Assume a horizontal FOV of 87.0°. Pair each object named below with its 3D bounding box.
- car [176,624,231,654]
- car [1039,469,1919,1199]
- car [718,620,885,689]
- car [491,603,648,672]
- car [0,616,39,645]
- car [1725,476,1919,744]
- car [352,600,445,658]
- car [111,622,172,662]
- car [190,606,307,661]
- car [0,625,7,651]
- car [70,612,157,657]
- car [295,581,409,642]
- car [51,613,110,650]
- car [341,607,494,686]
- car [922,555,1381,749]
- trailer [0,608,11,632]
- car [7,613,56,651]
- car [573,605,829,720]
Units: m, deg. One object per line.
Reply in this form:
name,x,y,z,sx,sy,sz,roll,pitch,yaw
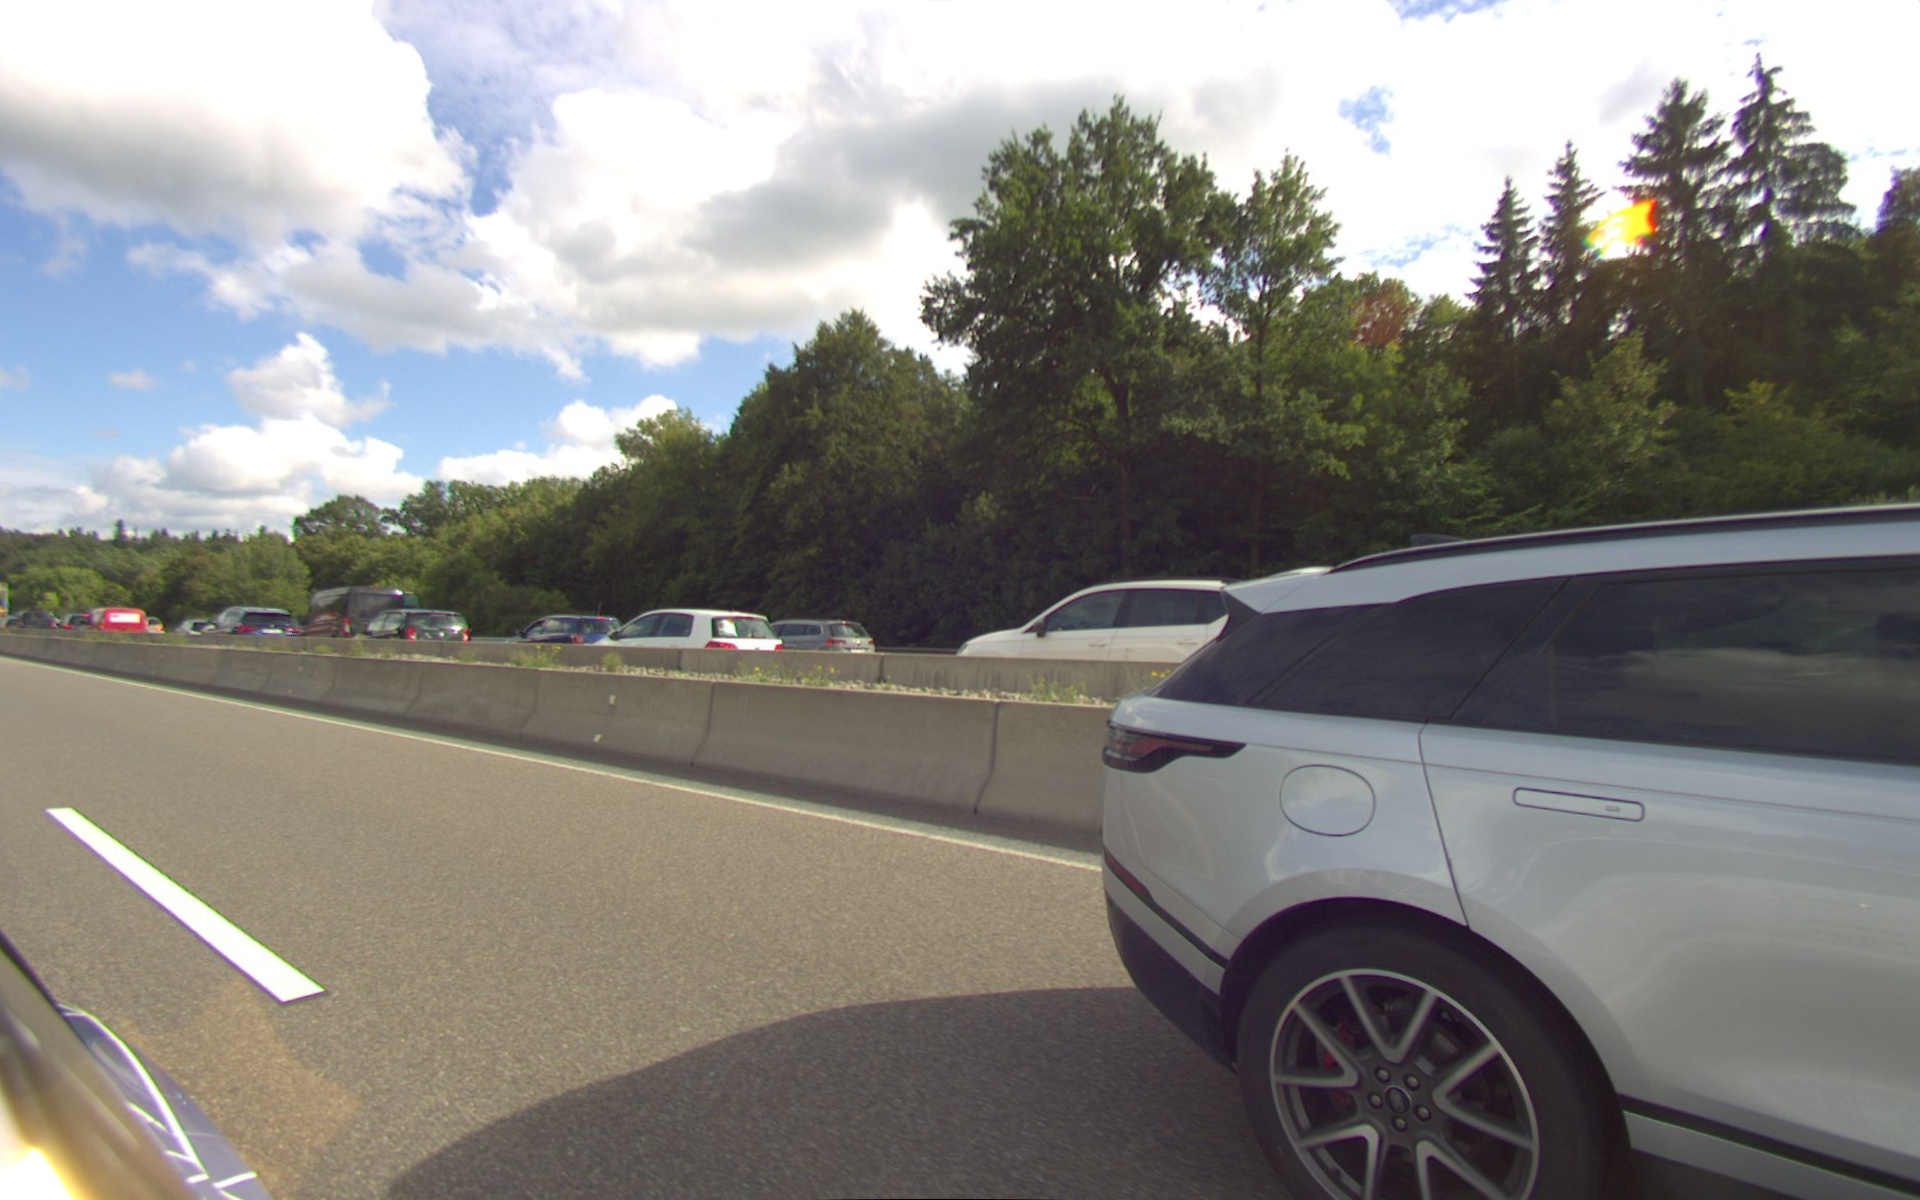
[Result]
car,-48.267,2.444,64.554,4.458,1.776,1.972,-1,0,42
car,2.741,0.598,1.776,5.103,1.619,1.880,0,0,41
car,-4.175,1.335,26.218,4.356,1.584,1.972,-1,0,42
car,-9.954,0.904,25.673,4.356,1.584,1.972,-1,0,42
car,-64.621,2.043,69.272,4.458,1.772,1.972,1,1,42
car,7.624,0.000,5.536,5.328,1.584,1.972,-1,1,42
car,-24.846,1.231,44.683,5.328,2.391,1.972,-1,0,42
car,-47.802,2.435,59.069,4.458,2.029,1.972,1,-3,42
car,-22.987,1.048,32.611,5.206,1.584,1.972,-1,0,42
car,-74.116,2.903,77.003,4.458,1.919,1.972,0,1,42
car,-35.944,1.443,42.919,5.289,1.776,1.857,-1,0,39
car,-22.321,0.420,37.055,5.844,2.047,1.972,-1,0,42
car,-46.465,1.623,53.422,4.458,1.776,1.838,0,1,42
car,-12.211,0.996,22.718,3.510,1.584,1.972,-1,0,42
car,1.779,0.448,10.399,4.356,1.584,1.747,-1,0,42
trailer,-139.884,2.871,146.023,14.208,3.361,2.700,-1,0,40
car,-56.309,1.899,61.380,4.451,2.029,1.797,1,1,42
car,-4.312,0.924,16.507,4.356,1.584,1.972,-1,0,42
